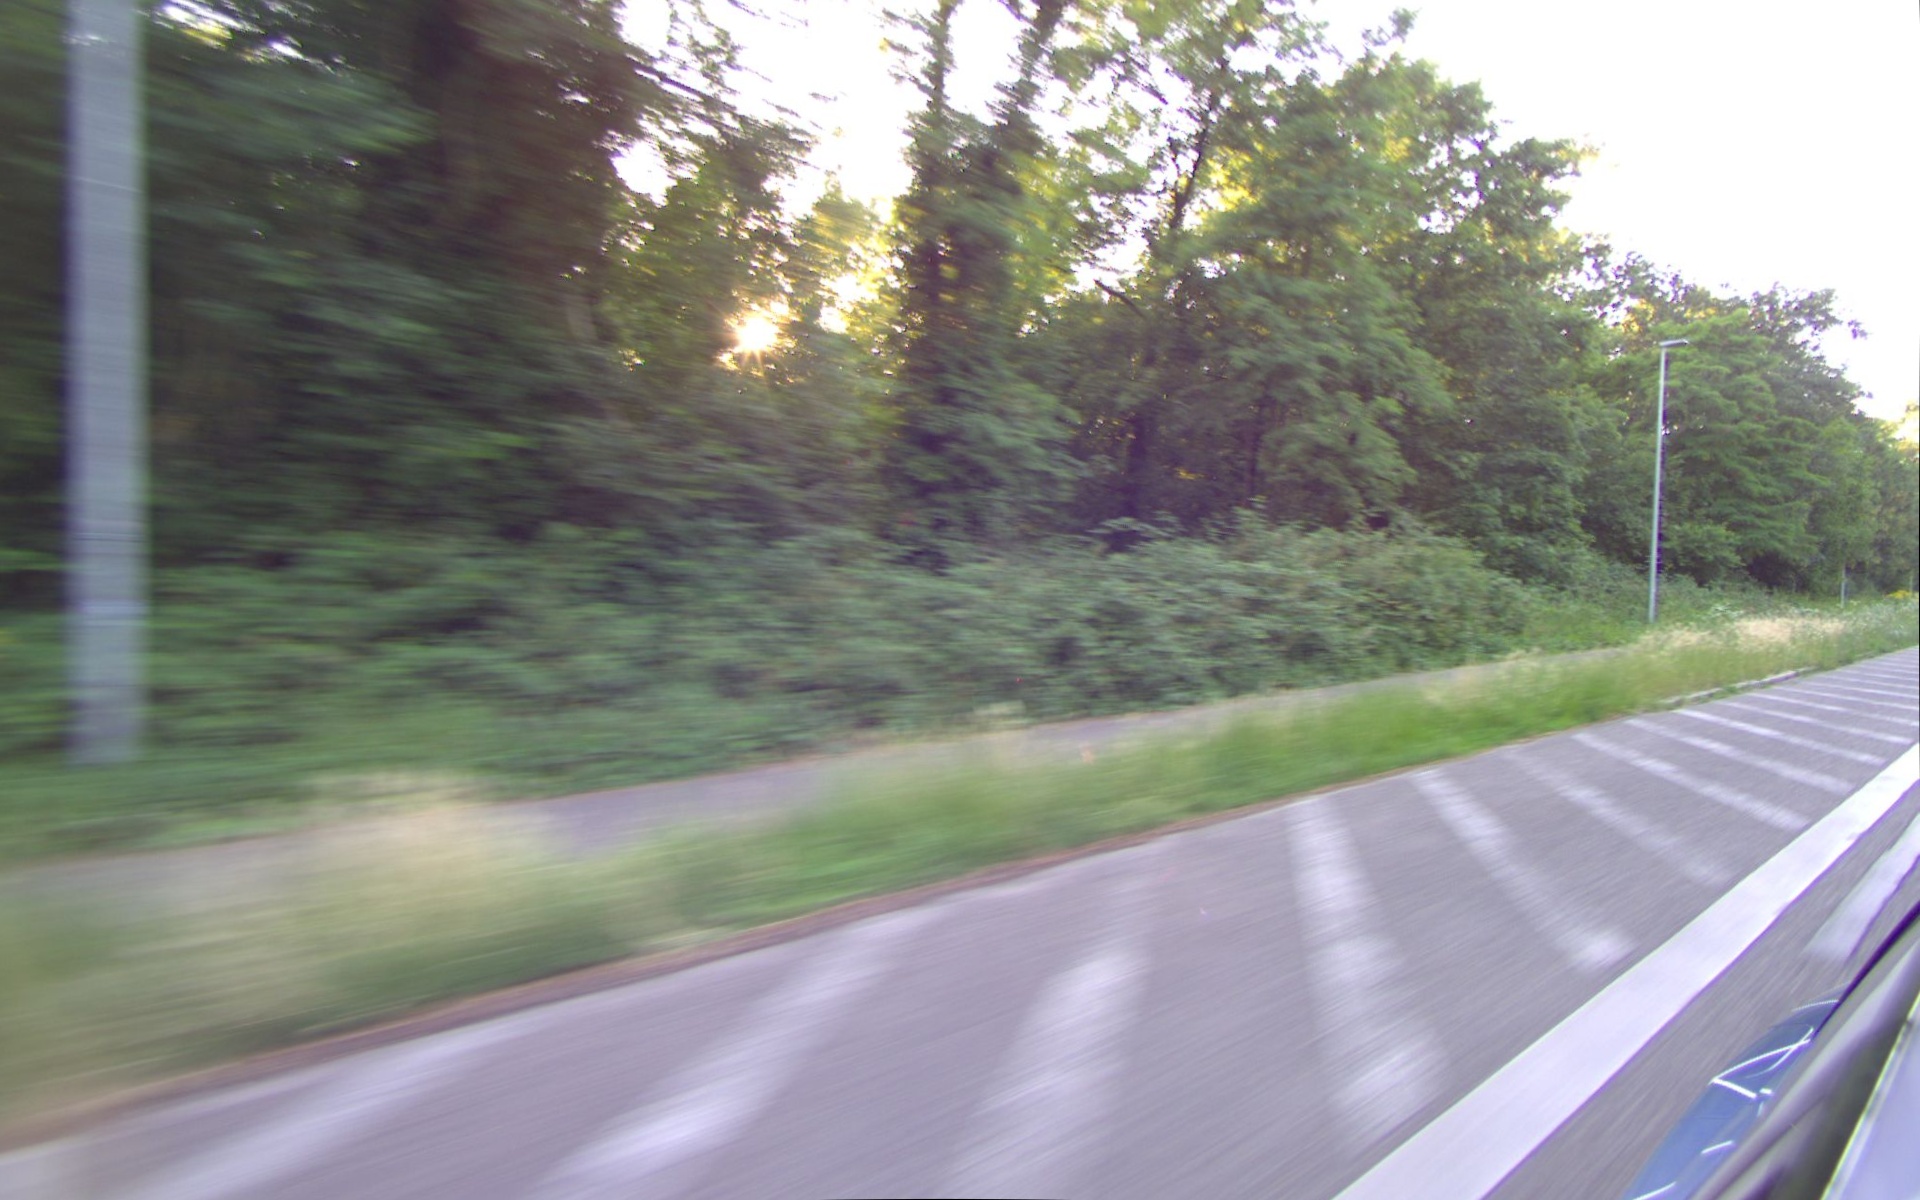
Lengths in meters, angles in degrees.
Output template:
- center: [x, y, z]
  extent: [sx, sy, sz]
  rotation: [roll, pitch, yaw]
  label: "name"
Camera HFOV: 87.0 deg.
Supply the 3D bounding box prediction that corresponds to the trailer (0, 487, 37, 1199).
- center: [-3.674, 0.601, 1.071]
  extent: [3.698, 1.682, 1.464]
  rotation: [0, 2, -23]
  label: "trailer"
